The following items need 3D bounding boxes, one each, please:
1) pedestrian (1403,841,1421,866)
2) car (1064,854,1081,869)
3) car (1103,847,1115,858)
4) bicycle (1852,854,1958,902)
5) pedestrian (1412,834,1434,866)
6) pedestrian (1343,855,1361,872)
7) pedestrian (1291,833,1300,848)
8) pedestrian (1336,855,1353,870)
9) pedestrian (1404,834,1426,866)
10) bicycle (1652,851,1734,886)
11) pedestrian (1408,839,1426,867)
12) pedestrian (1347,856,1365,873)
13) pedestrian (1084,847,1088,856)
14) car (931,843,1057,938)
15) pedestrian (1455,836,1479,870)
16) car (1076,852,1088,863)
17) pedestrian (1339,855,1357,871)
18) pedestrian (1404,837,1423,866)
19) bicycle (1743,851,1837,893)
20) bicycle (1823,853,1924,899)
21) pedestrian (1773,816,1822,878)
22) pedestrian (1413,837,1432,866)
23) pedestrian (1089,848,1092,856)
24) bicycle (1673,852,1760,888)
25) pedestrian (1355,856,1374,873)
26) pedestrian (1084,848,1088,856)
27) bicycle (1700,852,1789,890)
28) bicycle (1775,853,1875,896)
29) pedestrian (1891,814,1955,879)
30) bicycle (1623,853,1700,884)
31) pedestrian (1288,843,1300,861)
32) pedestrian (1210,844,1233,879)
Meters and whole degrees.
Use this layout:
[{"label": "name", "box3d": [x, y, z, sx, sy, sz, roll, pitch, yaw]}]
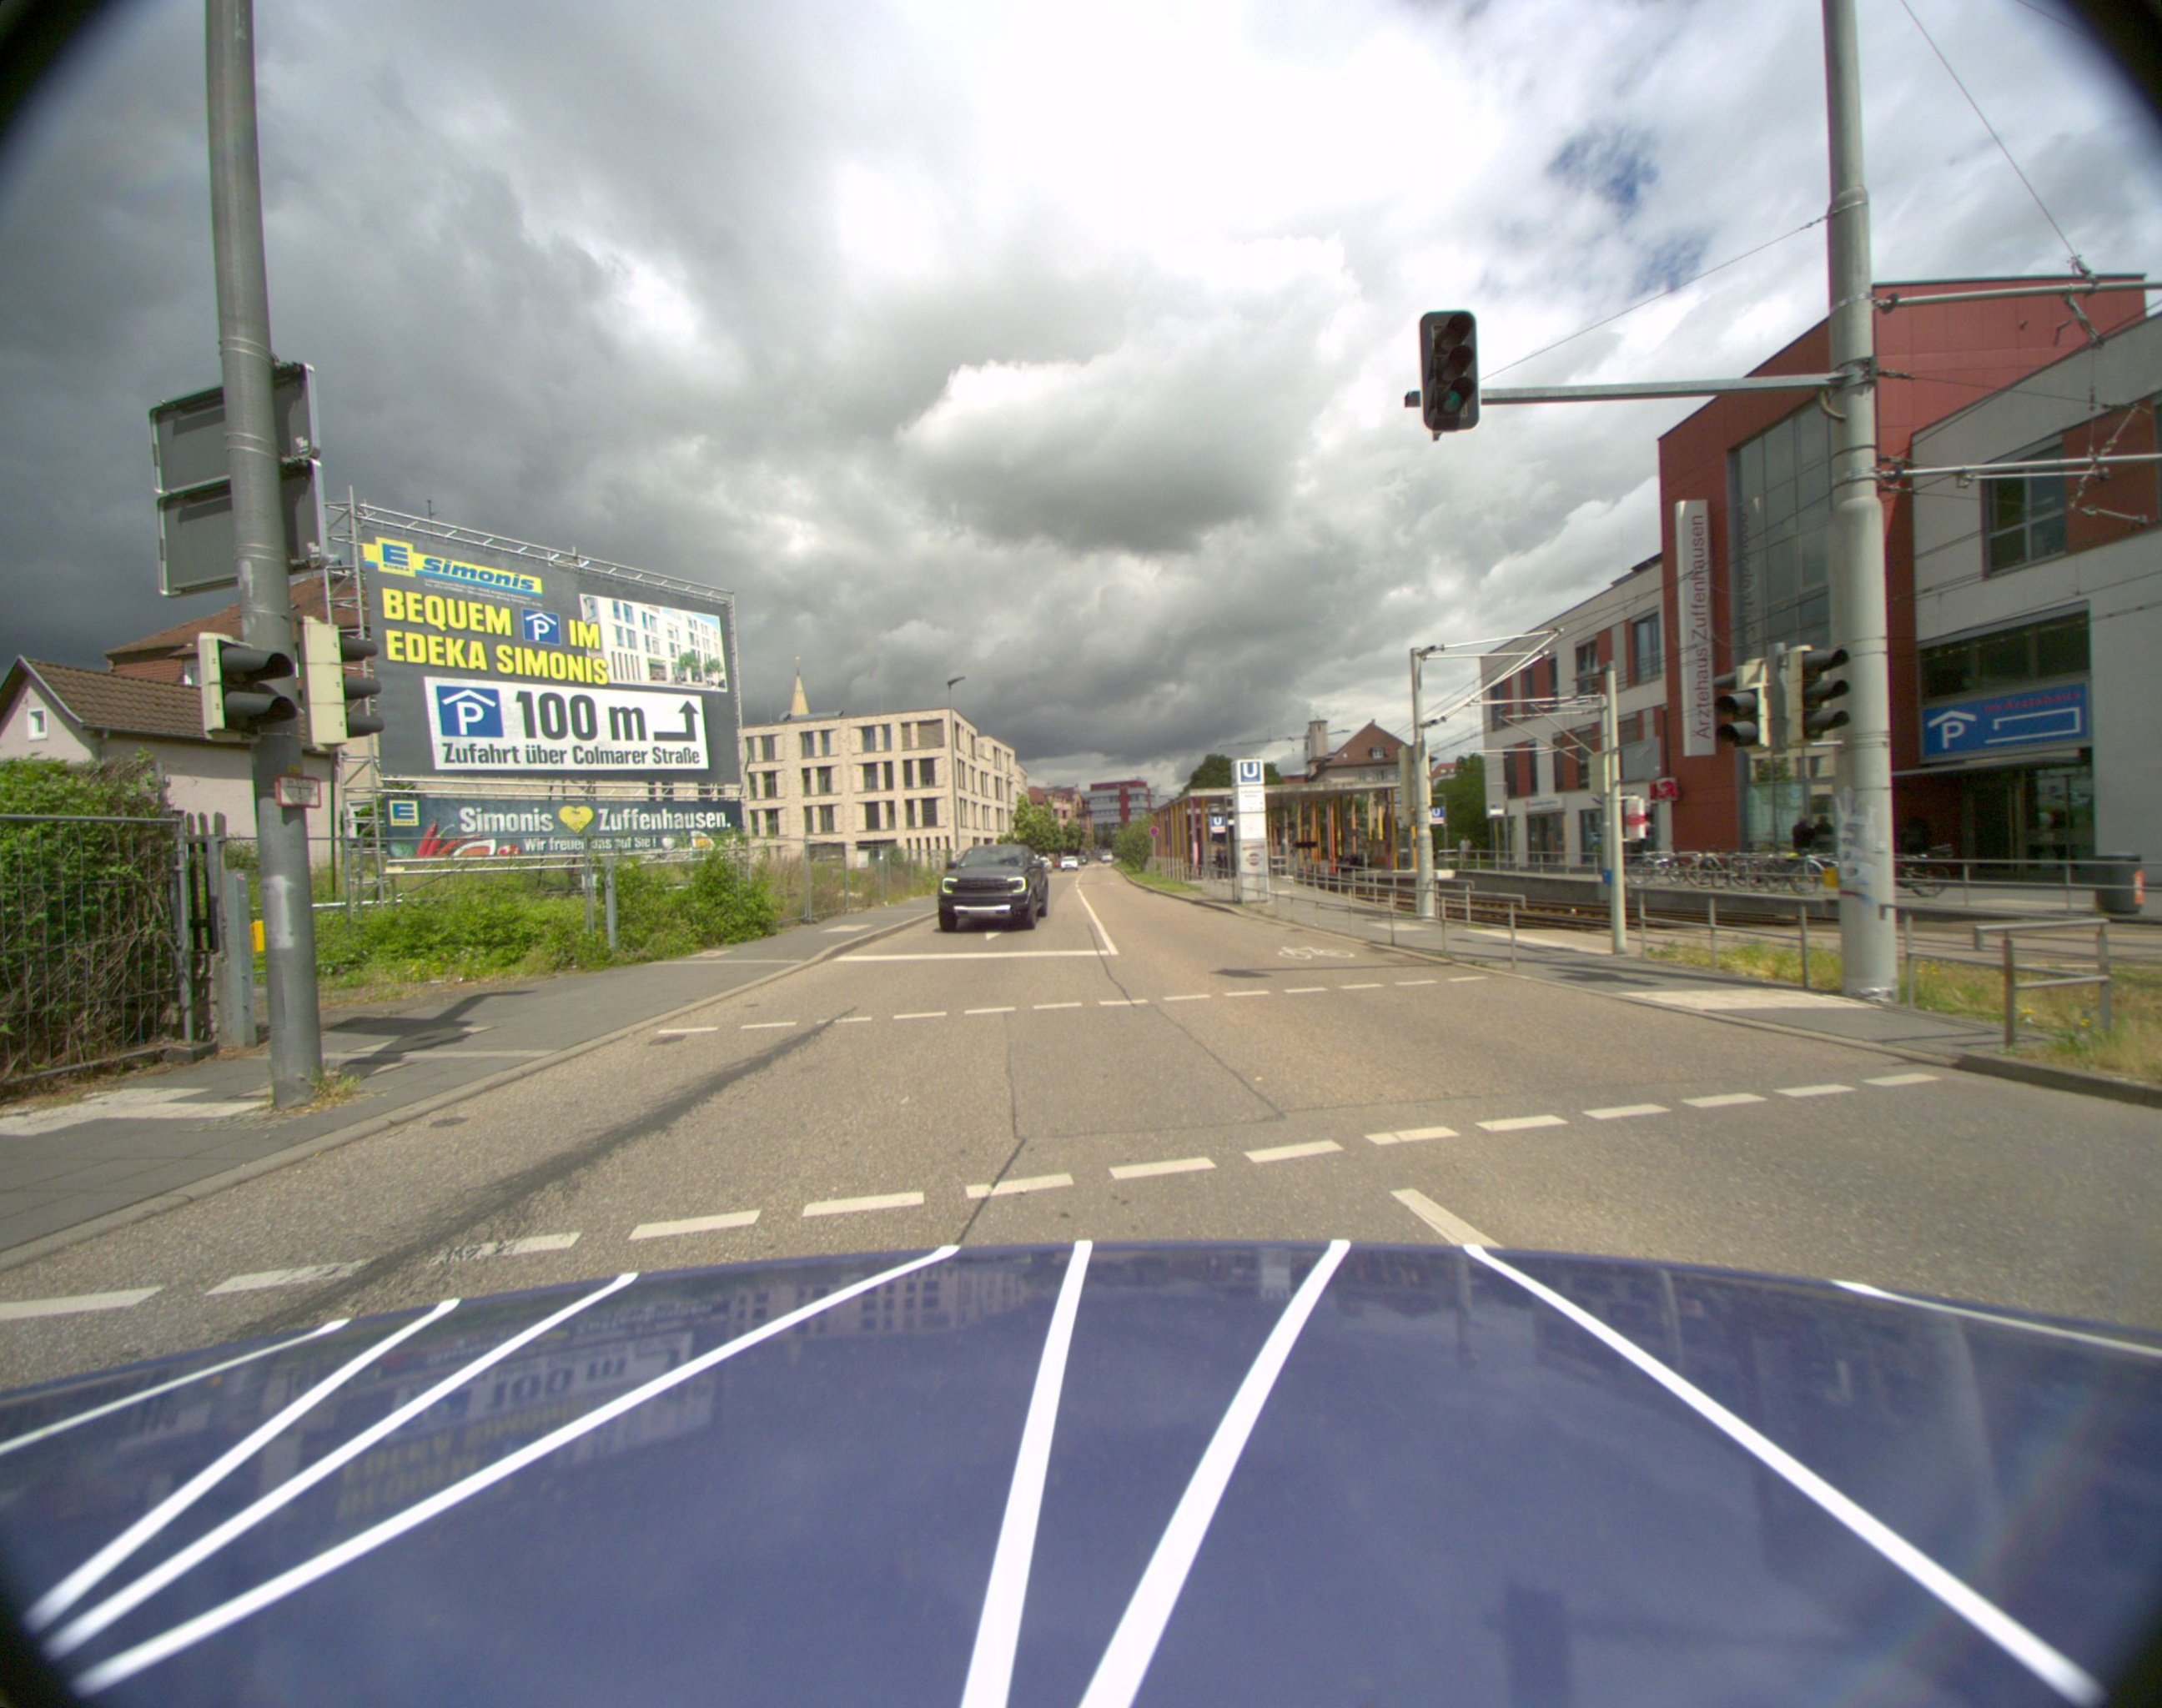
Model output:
[{"label": "pedestrian", "box3d": [26.002, -0.074, 59.729, 0.865, 1.957, 1.105, -1, 2, -9]}, {"label": "car", "box3d": [-0.898, 0.758, 80.747, 1.719, 1.541, 3.793, -1, 0, 1]}, {"label": "car", "box3d": [4.225, -0.208, 114.218, 1.588, 1.528, 3.946, -5, 1, 1]}, {"label": "bicycle", "box3d": [17.720, 0.511, 16.362, 1.739, 0.947, 0.428, -2, 1, 3]}, {"label": "pedestrian", "box3d": [21.468, -0.239, 47.675, 0.864, 1.957, 1.105, -1, 2, -1]}, {"label": "pedestrian", "box3d": [19.081, 0.681, 53.594, 0.943, 1.128, 0.886, -2, 0, 2]}, {"label": "pedestrian", "box3d": [30.574, -1.929, 108.553, 1.125, 2.002, 1.661, -1, 0, 13]}, {"label": "pedestrian", "box3d": [19.300, 0.616, 55.628, 0.943, 1.128, 0.886, -2, 0, 2]}, {"label": "pedestrian", "box3d": [20.954, -0.269, 47.683, 0.864, 1.957, 1.105, -1, 2, -1]}, {"label": "bicycle", "box3d": [17.588, 0.417, 21.848, 1.861, 0.927, 0.455, -2, 1, 9]}, {"label": "pedestrian", "box3d": [23.856, -0.076, 53.977, 0.863, 1.957, 1.106, -1, 2, 6]}, {"label": "pedestrian", "box3d": [19.065, 0.699, 52.636, 0.943, 1.128, 0.886, -2, 0, 2]}, {"label": "pedestrian", "box3d": [0.908, -0.427, 138.453, 0.673, 1.503, 0.783, -1, 0, 16]}, {"label": "car", "box3d": [-1.850, 0.708, 17.935, 2.003, 1.876, 5.151, -1, 1, 4]}, {"label": "pedestrian", "box3d": [22.255, -0.068, 43.836, 0.864, 1.957, 1.106, -1, 2, 3]}, {"label": "car", "box3d": [0.131, 0.436, 107.076, 1.678, 1.425, 3.794, -2, 1, 0]}, {"label": "pedestrian", "box3d": [19.177, 0.662, 54.584, 0.943, 1.128, 0.886, -2, 0, 2]}, {"label": "pedestrian", "box3d": [22.677, -0.177, 51.874, 0.863, 1.957, 1.106, -1, 2, 6]}, {"label": "bicycle", "box3d": [17.678, 0.447, 18.967, 1.862, 0.957, 0.454, -2, 1, 3]}, {"label": "bicycle", "box3d": [17.708, 0.497, 16.995, 1.739, 0.952, 0.428, -2, 1, 3]}, {"label": "pedestrian", "box3d": [22.006, -0.230, 23.337, 0.881, 1.835, 0.862, -4, 3, -27]}, {"label": "pedestrian", "box3d": [23.271, -0.176, 51.815, 0.863, 1.957, 1.106, -1, 2, 6]}, {"label": "pedestrian", "box3d": [1.815, -0.434, 144.596, 0.673, 1.503, 0.783, -2, 0, 3]}, {"label": "bicycle", "box3d": [17.562, 0.432, 21.019, 1.861, 0.917, 0.455, -2, 1, 8]}, {"label": "pedestrian", "box3d": [19.261, 0.713, 51.680, 0.943, 1.128, 0.886, -2, 0, 2]}, {"label": "pedestrian", "box3d": [0.940, -0.429, 144.587, 0.673, 1.503, 0.783, -2, 0, 3]}, {"label": "bicycle", "box3d": [17.545, 0.438, 20.118, 1.861, 0.934, 0.454, -2, 1, 5]}, {"label": "bicycle", "box3d": [17.641, 0.478, 18.035, 1.862, 0.930, 0.454, -2, 1, 3]}, {"label": "pedestrian", "box3d": [22.383, -0.197, 20.209, 0.936, 1.688, 0.787, -1, 2, -13]}, {"label": "bicycle", "box3d": [17.528, 0.431, 22.976, 1.861, 0.876, 0.455, -2, 1, 9]}, {"label": "pedestrian", "box3d": [24.134, -0.179, 86.012, 1.127, 2.002, 1.179, -1, 0, 6]}, {"label": "pedestrian", "box3d": [7.698, 0.407, 41.640, 1.105, 1.903, 0.864, -1, 2, 2]}]
